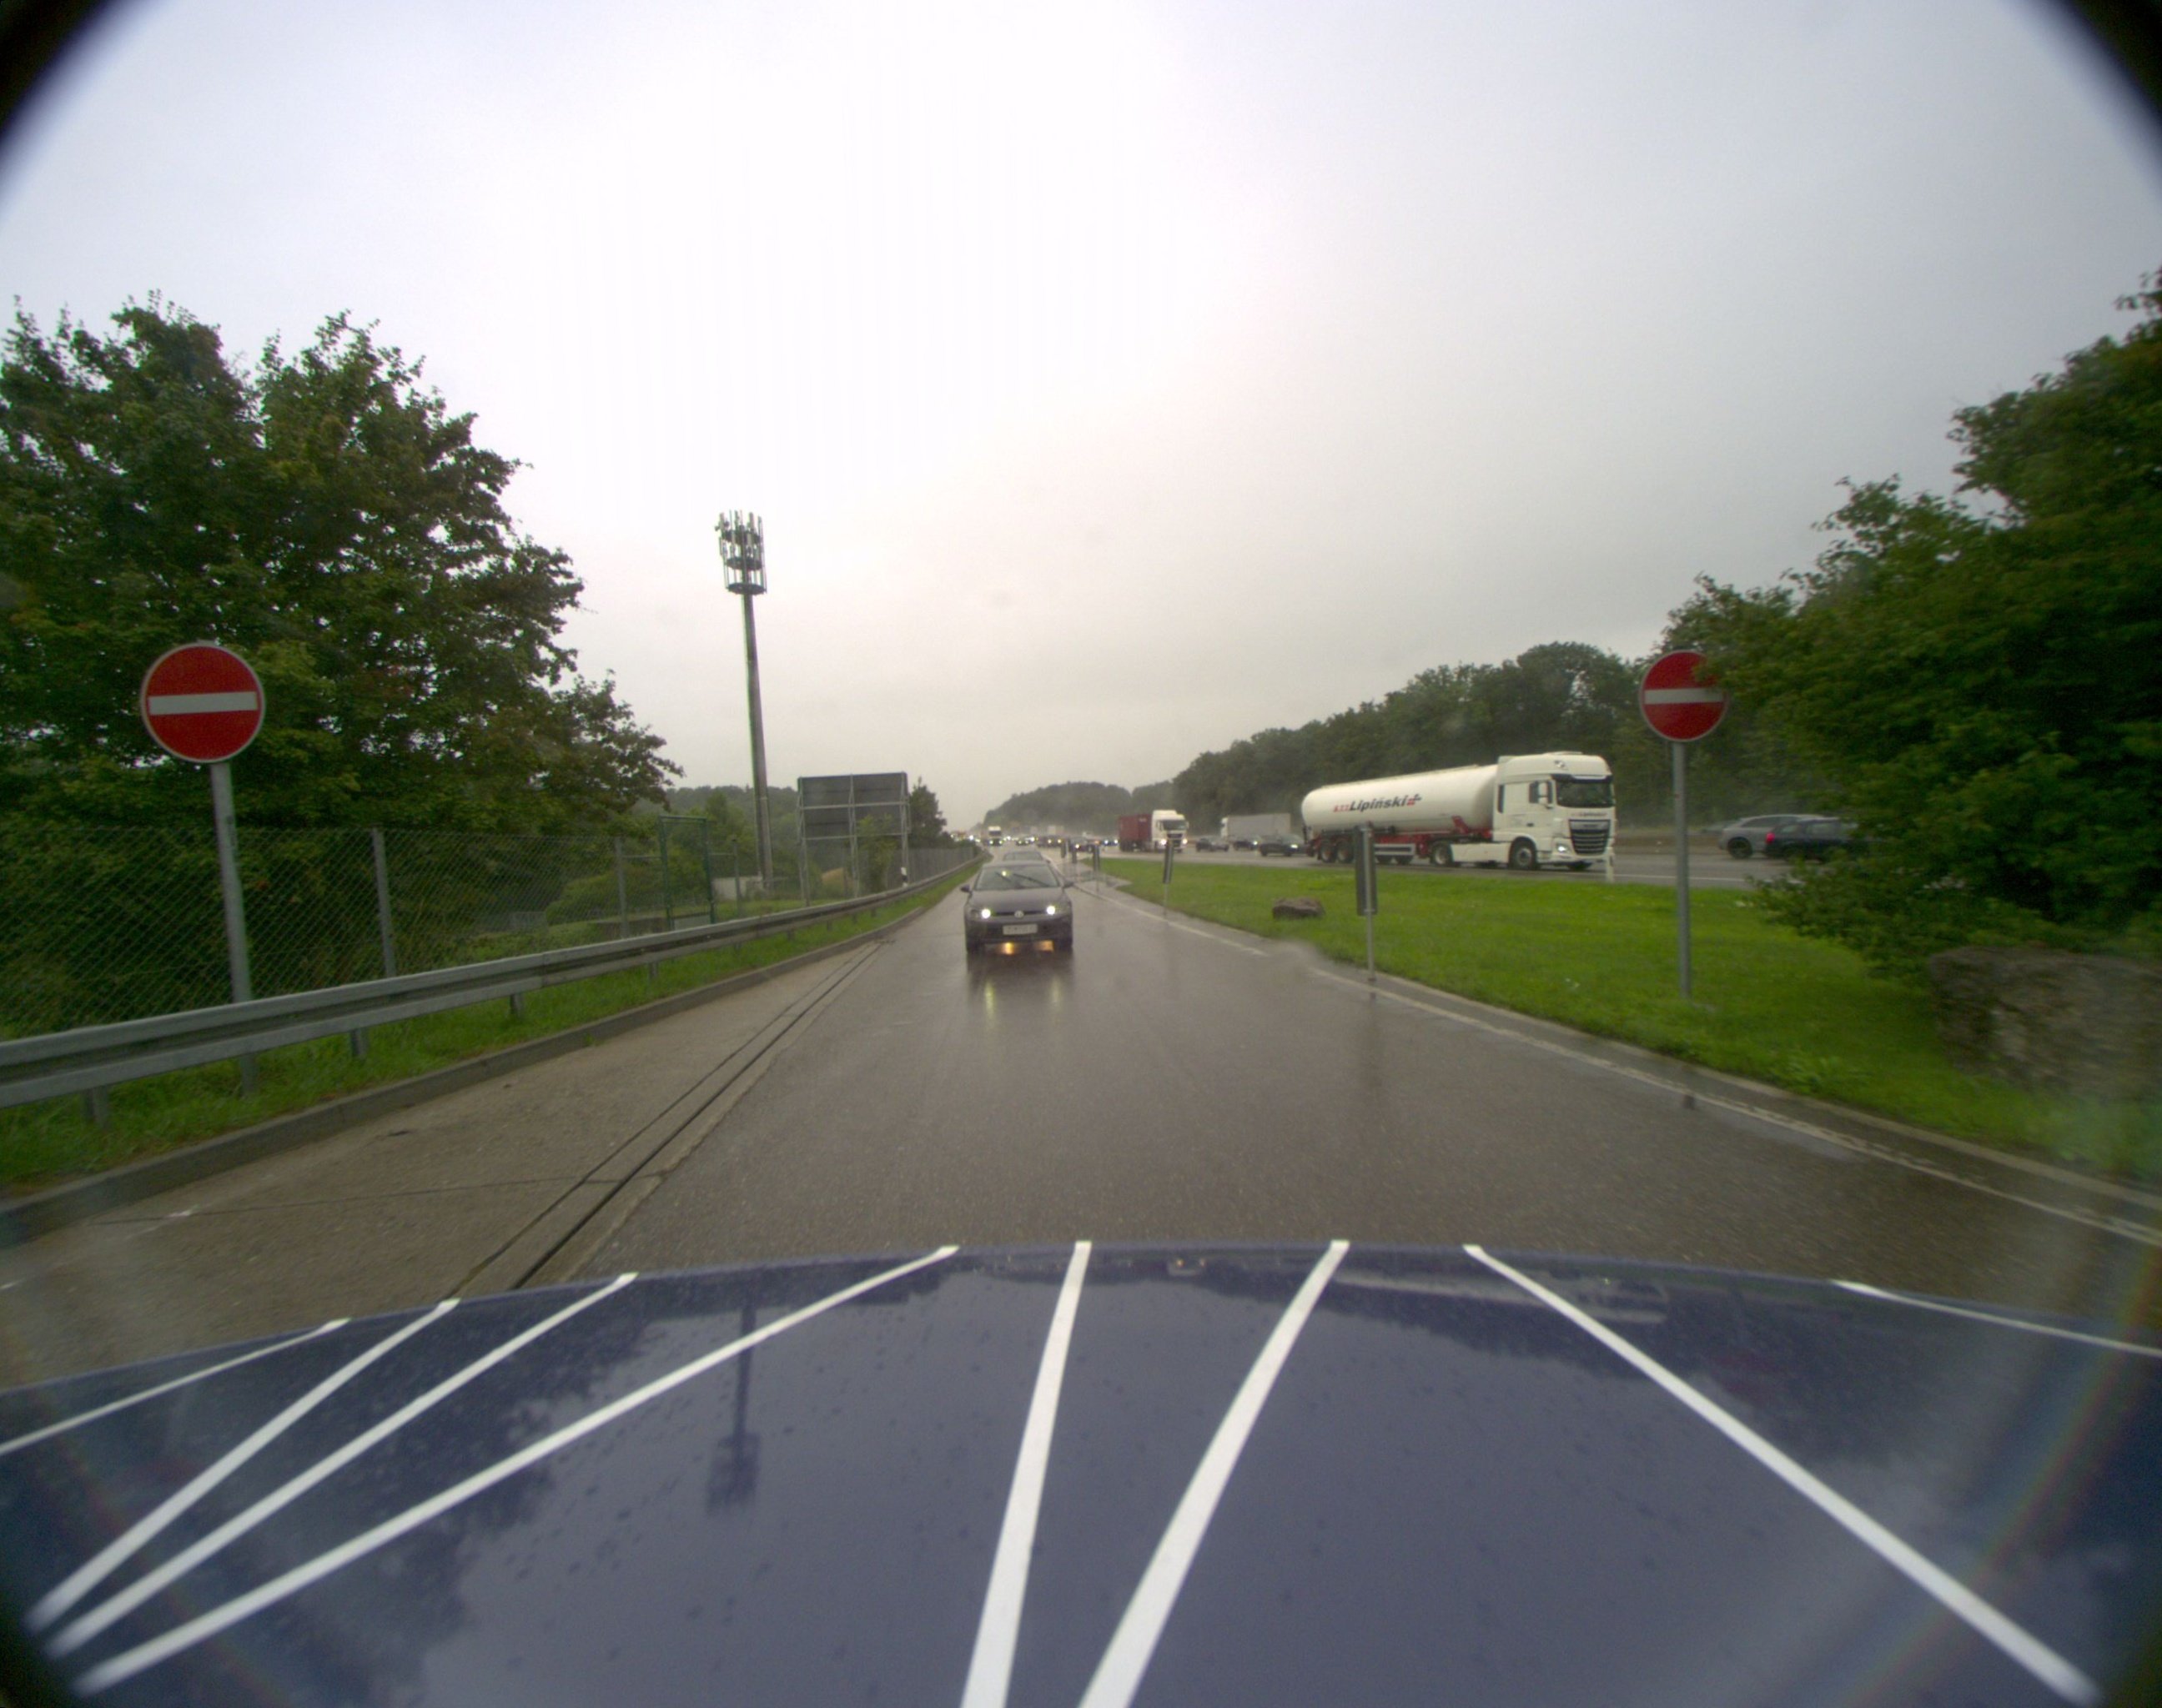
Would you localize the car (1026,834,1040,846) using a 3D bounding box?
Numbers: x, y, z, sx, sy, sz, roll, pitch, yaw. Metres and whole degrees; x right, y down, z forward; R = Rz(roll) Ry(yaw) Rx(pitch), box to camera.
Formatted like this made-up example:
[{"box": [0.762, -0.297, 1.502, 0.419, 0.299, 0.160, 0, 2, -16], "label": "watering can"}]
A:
[{"box": [-9.216, -2.683, 146.697, 1.919, 2.003, 3.993, -9, 5, -11], "label": "car"}]

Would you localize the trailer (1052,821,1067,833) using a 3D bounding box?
[{"box": [-7.107, -8.774, 249.072, 2.657, 3.478, 13.469, -3, 2, -11], "label": "trailer"}]

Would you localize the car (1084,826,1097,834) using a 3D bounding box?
[{"box": [2.499, -6.406, 202.084, 2.001, 2.003, 4.476, -5, 3, -14], "label": "car"}]

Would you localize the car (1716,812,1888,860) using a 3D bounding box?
[{"box": [27.039, -0.675, 28.706, 1.825, 1.659, 4.398, -2, 2, -15], "label": "car"}]

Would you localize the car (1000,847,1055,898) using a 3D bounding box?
[{"box": [-2.068, 0.658, 29.413, 1.811, 1.533, 3.997, -6, 2, -4], "label": "car"}]

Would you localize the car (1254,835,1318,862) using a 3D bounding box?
[{"box": [13.455, -0.356, 50.068, 2.001, 1.569, 4.496, -4, 1, -15], "label": "car"}]

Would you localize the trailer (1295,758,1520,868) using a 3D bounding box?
[{"box": [13.599, -1.605, 33.354, 2.772, 4.003, 11.025, -3, 2, -15], "label": "trailer"}]

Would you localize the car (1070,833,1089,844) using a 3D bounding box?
[{"box": [-0.289, -2.426, 118.506, 1.790, 1.550, 4.092, -3, 0, -18], "label": "car"}]

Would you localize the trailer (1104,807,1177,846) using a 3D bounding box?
[{"box": [5.866, -2.788, 79.323, 2.693, 3.486, 15.103, -6, 3, -14], "label": "trailer"}]

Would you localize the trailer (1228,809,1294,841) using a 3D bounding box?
[{"box": [25.144, -3.995, 107.416, 2.733, 3.519, 14.043, -7, 1, -13], "label": "trailer"}]

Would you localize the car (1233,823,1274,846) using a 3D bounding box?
[{"box": [15.816, -1.755, 69.932, 2.001, 2.002, 3.994, -3, 2, -15], "label": "car"}]

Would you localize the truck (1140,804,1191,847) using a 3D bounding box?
[{"box": [7.855, -2.663, 71.266, 2.699, 3.637, 5.317, -6, 3, -14], "label": "truck"}]

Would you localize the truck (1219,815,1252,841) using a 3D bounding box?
[{"box": [23.284, -3.914, 114.752, 2.723, 3.514, 4.757, -7, 1, -13], "label": "truck"}]

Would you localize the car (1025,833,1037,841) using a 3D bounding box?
[{"box": [-10.782, -3.639, 164.078, 1.798, 1.499, 3.994, -2, 1, -15], "label": "car"}]

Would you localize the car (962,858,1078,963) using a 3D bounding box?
[{"box": [-1.120, 0.854, 13.479, 1.671, 1.395, 4.258, -2, 1, -6], "label": "car"}]

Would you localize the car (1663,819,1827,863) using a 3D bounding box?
[{"box": [23.661, -0.462, 27.302, 1.825, 1.406, 4.118, -2, 1, -15], "label": "car"}]

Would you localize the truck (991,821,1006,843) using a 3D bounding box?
[{"box": [-16.707, -4.383, 153.713, 2.598, 4.122, 5.225, -6, 2, -8], "label": "truck"}]

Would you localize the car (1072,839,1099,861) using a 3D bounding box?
[{"box": [0.454, -0.483, 83.429, 1.919, 2.003, 3.993, -9, 5, -11], "label": "car"}]

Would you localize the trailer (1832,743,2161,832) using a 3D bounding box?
[{"box": [44.094, -2.944, 35.617, 2.198, 3.478, 13.112, -6, 3, -16], "label": "trailer"}]

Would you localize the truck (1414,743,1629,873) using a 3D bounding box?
[{"box": [15.306, -1.526, 27.043, 2.760, 3.986, 6.498, -3, 2, -15], "label": "truck"}]

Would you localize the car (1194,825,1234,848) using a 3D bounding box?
[{"box": [12.082, -1.585, 69.266, 2.001, 2.002, 4.106, -3, 2, -15], "label": "car"}]

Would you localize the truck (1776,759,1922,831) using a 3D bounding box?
[{"box": [42.223, -3.155, 41.980, 2.198, 3.491, 5.160, -6, 3, -16], "label": "truck"}]
